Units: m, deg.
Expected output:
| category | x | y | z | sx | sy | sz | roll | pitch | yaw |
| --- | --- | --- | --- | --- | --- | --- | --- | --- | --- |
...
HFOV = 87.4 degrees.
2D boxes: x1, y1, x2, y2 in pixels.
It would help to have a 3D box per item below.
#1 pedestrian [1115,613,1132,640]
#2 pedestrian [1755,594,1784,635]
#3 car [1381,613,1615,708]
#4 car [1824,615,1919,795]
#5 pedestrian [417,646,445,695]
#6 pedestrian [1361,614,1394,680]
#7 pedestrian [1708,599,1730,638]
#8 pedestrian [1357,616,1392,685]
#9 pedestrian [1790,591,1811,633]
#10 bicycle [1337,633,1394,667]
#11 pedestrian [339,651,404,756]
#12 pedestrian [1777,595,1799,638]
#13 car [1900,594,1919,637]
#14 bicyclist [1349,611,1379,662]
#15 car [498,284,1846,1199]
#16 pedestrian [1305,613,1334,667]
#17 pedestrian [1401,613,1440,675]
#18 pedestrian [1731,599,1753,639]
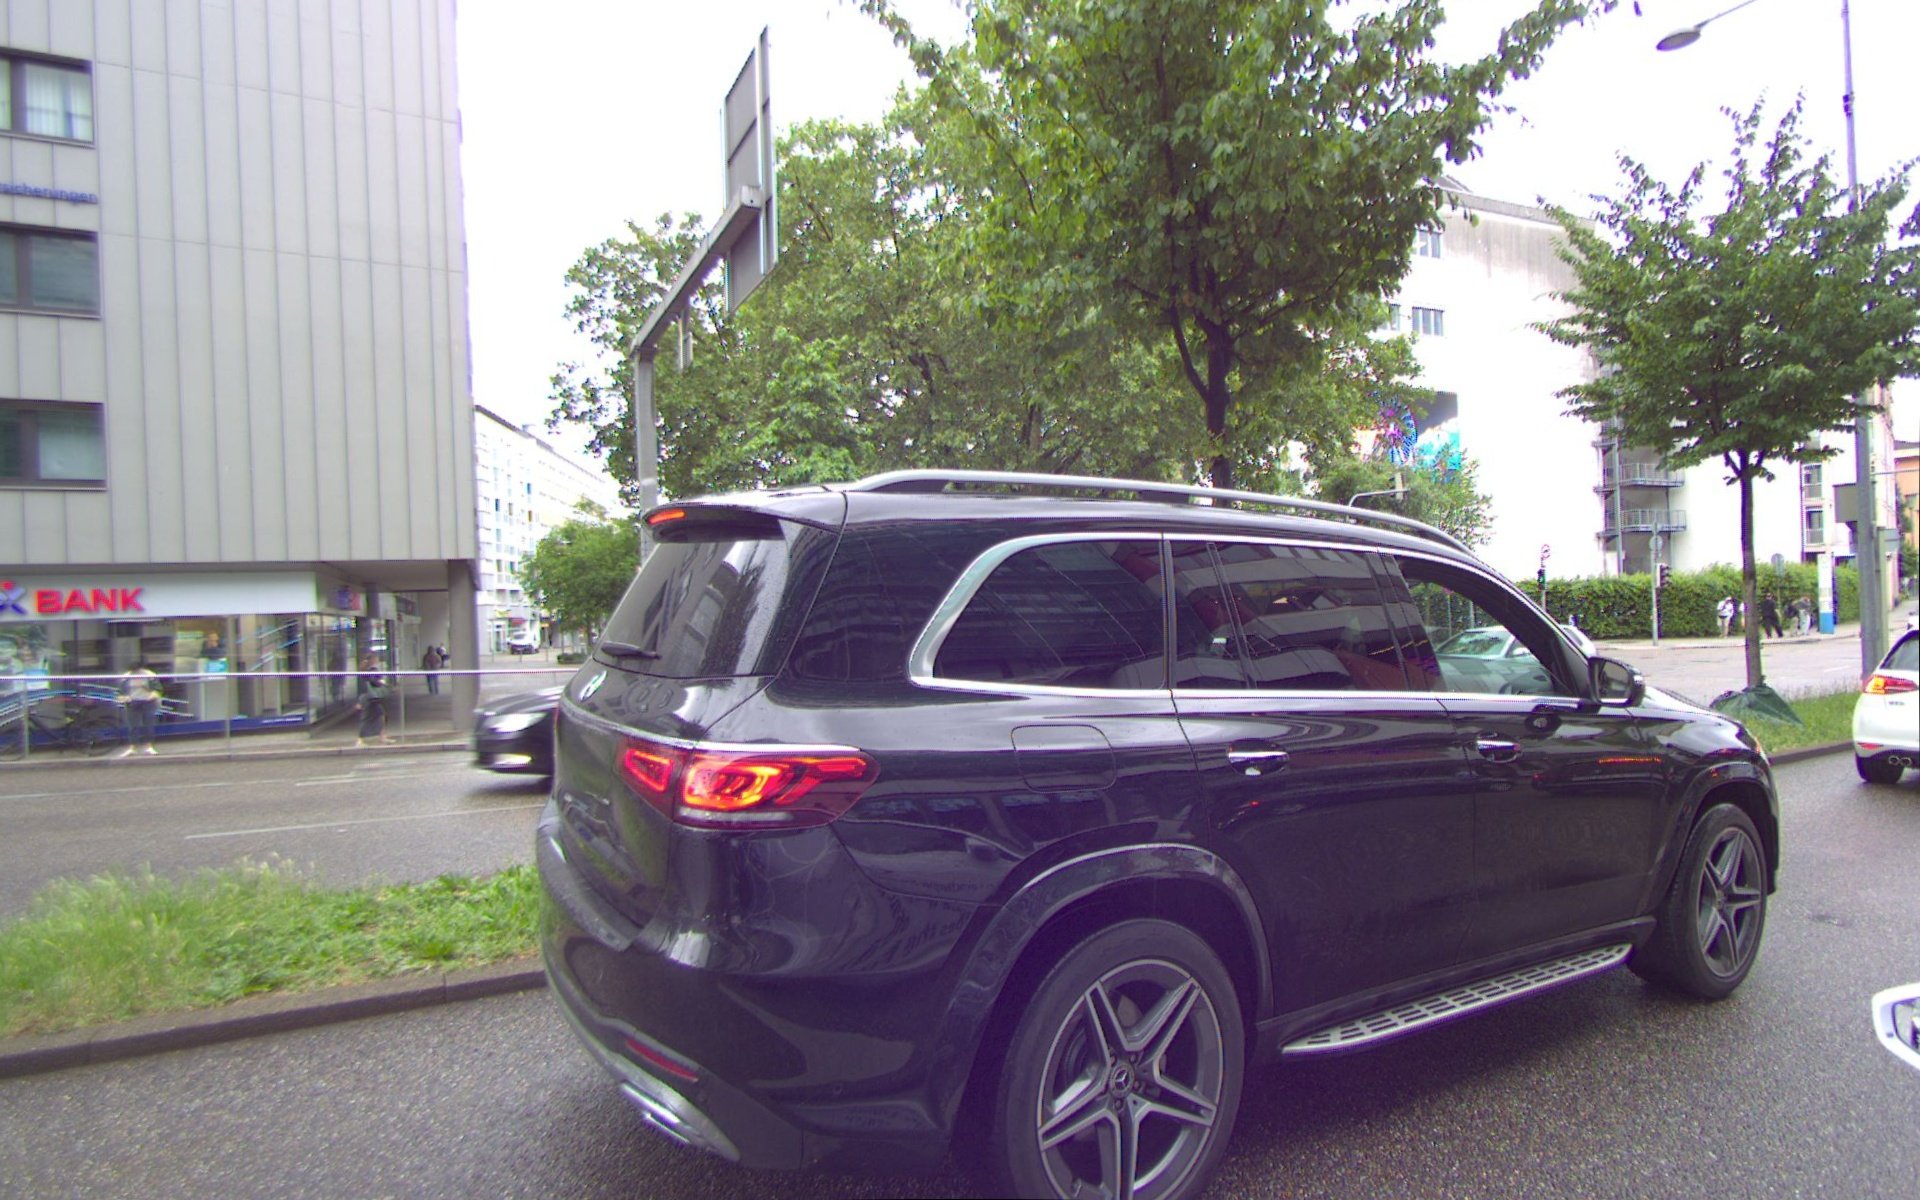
| category | x | y | z | sx | sy | sz | roll | pitch | yaw |
| --- | --- | --- | --- | --- | --- | --- | --- | --- | --- |
| pedestrian | 10.240 | 1.653 | 62.929 | 0.723 | 1.664 | 0.635 | 2 | 0 | -23 |
| pedestrian | 33.333 | 0.593 | 41.358 | 0.724 | 1.664 | 0.635 | 2 | -1 | -27 |
| car | 9.446 | 1.102 | 17.667 | 3.698 | 1.487 | 1.631 | 3 | -5 | -22 |
| car | 9.553 | 0.873 | 8.960 | 3.799 | 1.448 | 1.768 | 0 | 0 | -32 |
| pedestrian | -18.687 | 2.486 | 35.497 | 0.719 | 1.719 | 0.782 | 2 | -3 | -37 |
| pedestrian | 10.961 | 1.227 | 26.379 | 0.572 | 1.684 | 0.554 | -2 | 0 | -30 |
| pedestrian | 31.616 | 0.766 | 41.819 | 0.522 | 1.620 | 0.576 | 2 | -1 | -36 |
| pedestrian | 10.419 | 1.263 | 25.234 | 0.572 | 1.684 | 0.554 | -2 | 0 | -30 |
| pedestrian | 36.107 | 0.519 | 43.135 | 0.559 | 1.771 | 0.535 | 2 | -1 | -35 |
| bicycle | 12.578 | 1.546 | 31.130 | 1.918 | 1.013 | 0.612 | 2 | -3 | -31 |
| pedestrian | -9.676 | 1.683 | 16.533 | 0.779 | 1.659 | 0.632 | 2 | 0 | -22 |
| pedestrian | 34.778 | 0.680 | 42.186 | 0.741 | 1.771 | 0.535 | 2 | -1 | -38 |
| car | 34.948 | 0.524 | 35.606 | 3.571 | 1.506 | 1.565 | 0 | 1 | -33 |
| bicyclist | 12.519 | 1.146 | 31.113 | 0.602 | 1.550 | 0.629 | 2 | -3 | -30 |
| car | 1.137 | 0.515 | 3.786 | 5.016 | 1.895 | 1.901 | 3 | -1 | -31 |
| pedestrian | 11.490 | 1.285 | 32.118 | 0.572 | 1.689 | 0.636 | -2 | 0 | -30 |
| pedestrian | 12.933 | 1.229 | 28.210 | 0.620 | 1.684 | 0.749 | -2 | 0 | -30 |
| pedestrian | 32.488 | 0.788 | 41.734 | 0.522 | 1.620 | 0.576 | 2 | -1 | -36 |
